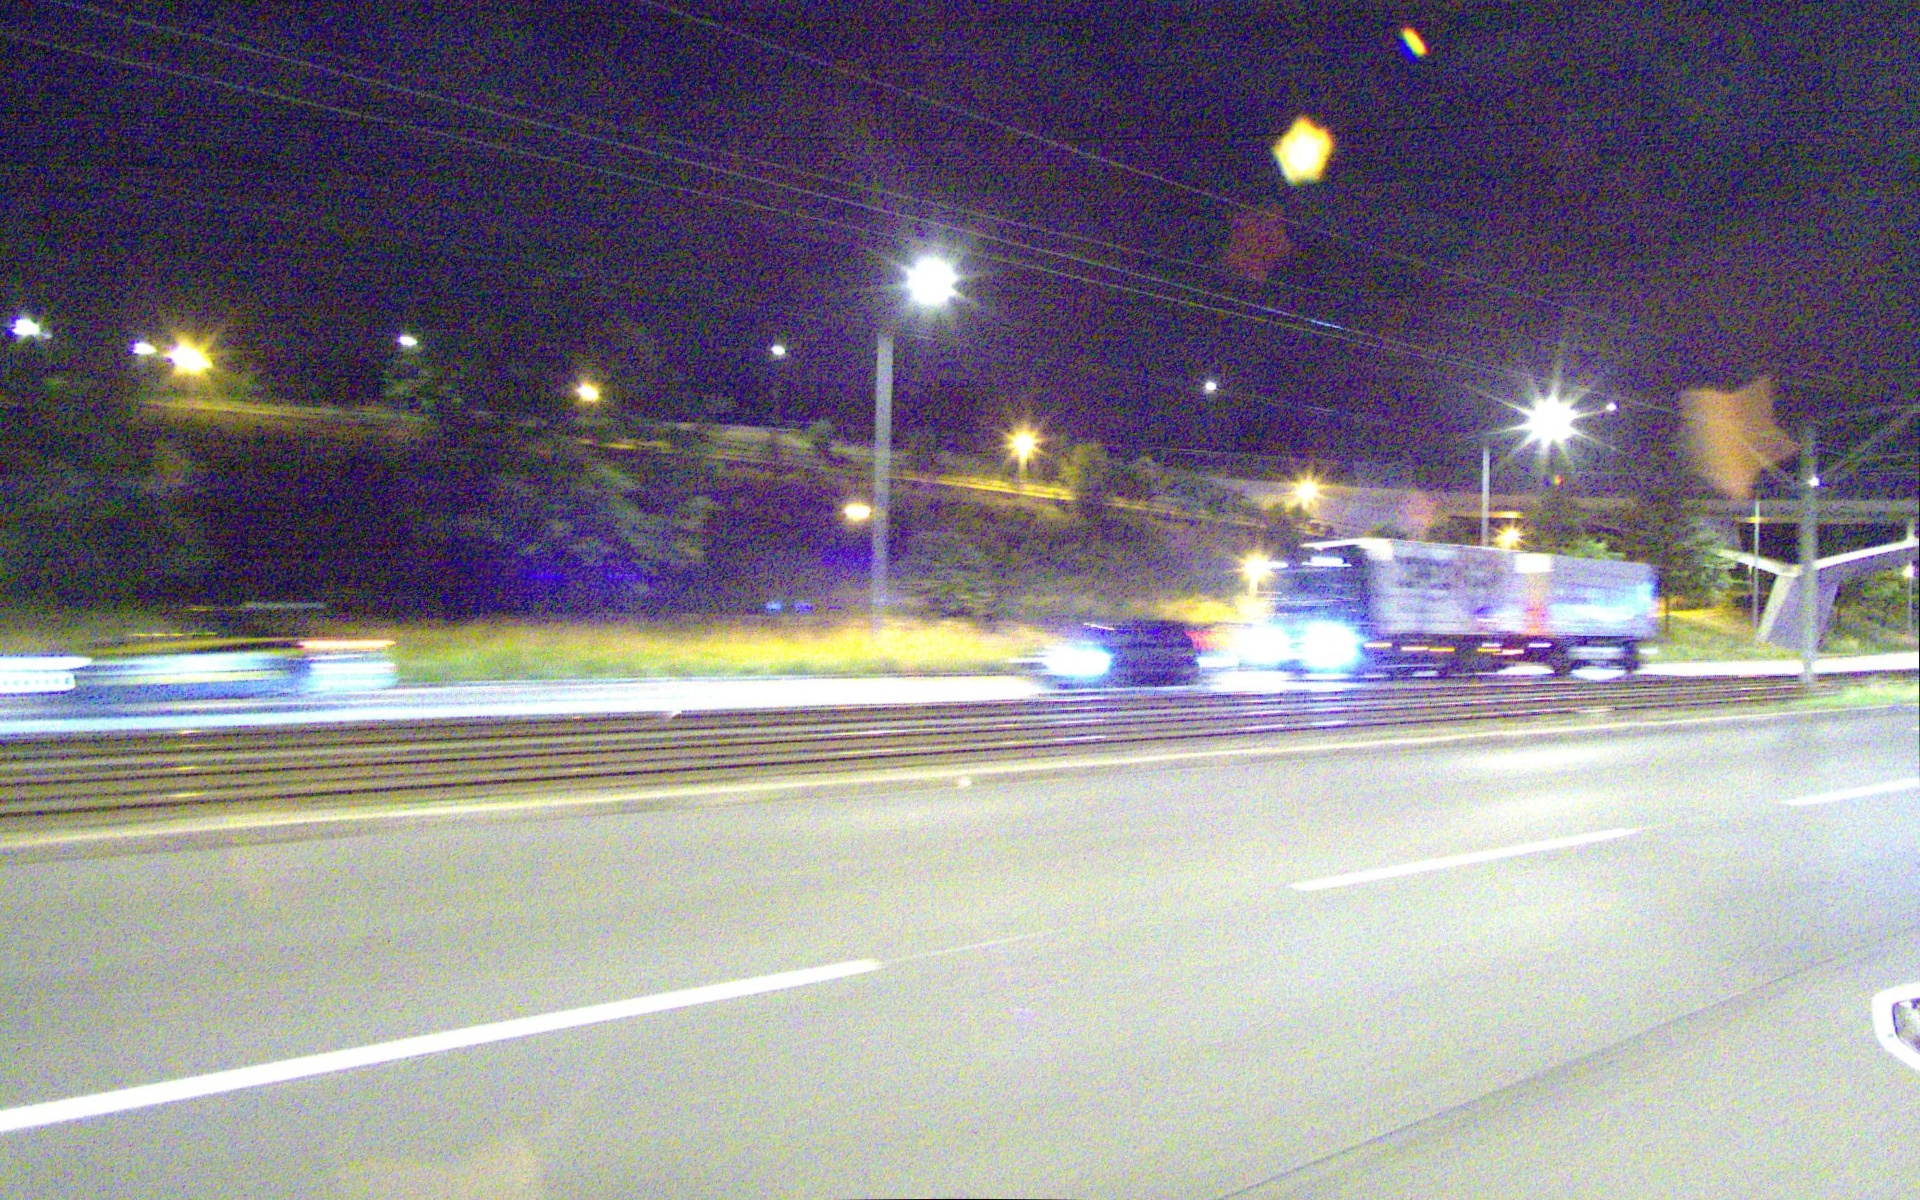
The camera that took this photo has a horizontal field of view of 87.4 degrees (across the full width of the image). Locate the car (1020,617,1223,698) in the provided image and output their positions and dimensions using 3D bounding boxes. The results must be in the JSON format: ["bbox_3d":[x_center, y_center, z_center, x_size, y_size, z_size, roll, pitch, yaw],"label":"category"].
[{"bbox_3d":[3.428,1.184,21.084,4.042,1.519,1.793,2,-1,-34],"label":"car"}]

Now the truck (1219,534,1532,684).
[{"bbox_3d":[13.069,0.374,31.142,10.309,4.007,3.660,2,0,-33],"label":"truck"}]

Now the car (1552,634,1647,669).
[{"bbox_3d":[28.487,2.281,44.708,4.157,1.500,1.976,2,-3,-32],"label":"car"}]

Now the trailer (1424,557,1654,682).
[{"bbox_3d":[20.980,0.724,36.245,8.304,4.043,3.675,2,0,-32],"label":"trailer"}]

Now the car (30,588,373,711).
[{"bbox_3d":[-11.239,0.730,15.283,3.915,1.647,1.717,2,0,-30],"label":"car"}]
